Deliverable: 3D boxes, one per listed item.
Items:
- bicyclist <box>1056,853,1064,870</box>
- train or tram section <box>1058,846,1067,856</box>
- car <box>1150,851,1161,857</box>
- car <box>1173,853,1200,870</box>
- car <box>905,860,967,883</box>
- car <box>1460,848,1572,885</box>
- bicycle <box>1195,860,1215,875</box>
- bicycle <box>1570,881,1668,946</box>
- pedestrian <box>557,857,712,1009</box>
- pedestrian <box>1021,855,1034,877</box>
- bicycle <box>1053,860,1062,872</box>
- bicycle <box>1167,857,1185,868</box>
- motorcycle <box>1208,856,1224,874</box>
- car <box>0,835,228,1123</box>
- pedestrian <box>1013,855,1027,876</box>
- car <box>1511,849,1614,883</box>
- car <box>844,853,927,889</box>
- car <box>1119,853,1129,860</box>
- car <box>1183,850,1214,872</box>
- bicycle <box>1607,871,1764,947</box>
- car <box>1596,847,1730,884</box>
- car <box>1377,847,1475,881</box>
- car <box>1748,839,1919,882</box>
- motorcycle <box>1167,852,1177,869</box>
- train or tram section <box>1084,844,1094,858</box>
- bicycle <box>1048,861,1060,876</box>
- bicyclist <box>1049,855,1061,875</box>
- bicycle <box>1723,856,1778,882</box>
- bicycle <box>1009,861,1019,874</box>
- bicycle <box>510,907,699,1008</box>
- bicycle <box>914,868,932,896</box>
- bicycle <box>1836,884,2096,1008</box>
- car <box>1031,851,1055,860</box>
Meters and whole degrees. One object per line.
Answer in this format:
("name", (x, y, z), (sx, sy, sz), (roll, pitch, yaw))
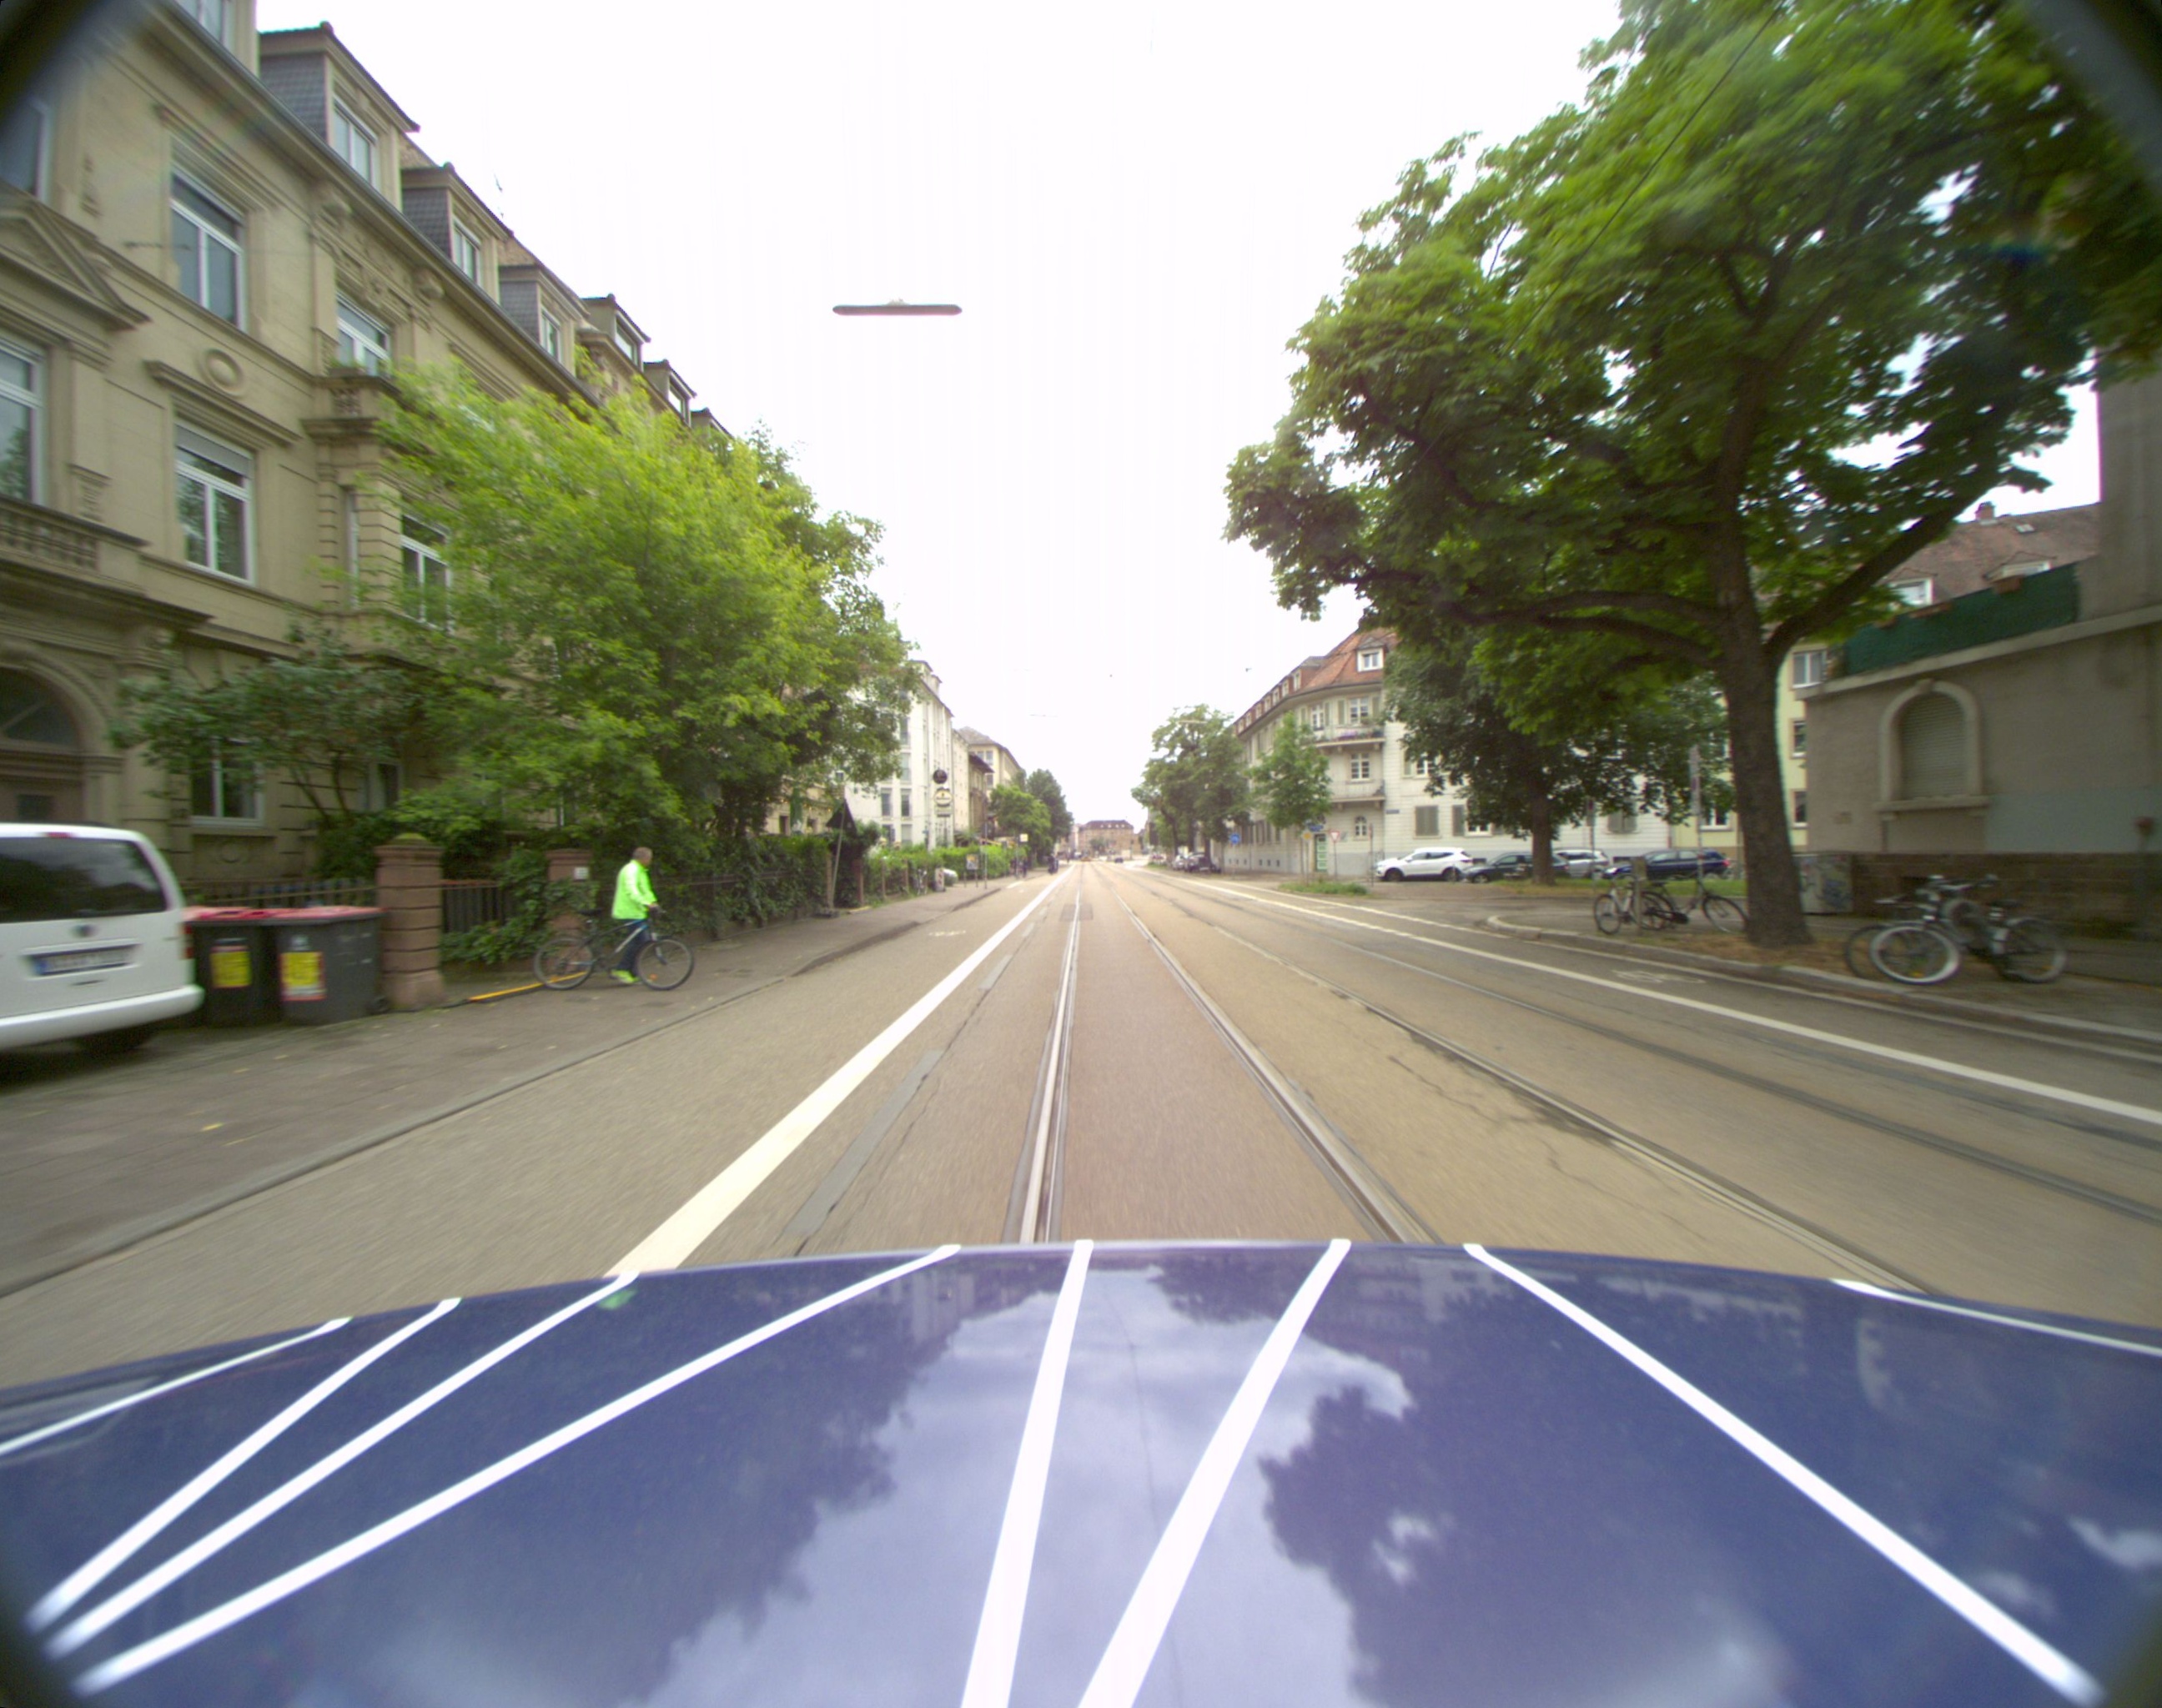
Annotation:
("bicyclist", (-2.111, 0.751, 76.245), (0.776, 1.681, 0.869), (-1, 0, 1))
("train or tram section", (-5.797, -0.909, 241.163), (2.610, 2.936, 4.965), (-2, 0, -2))
("car", (19.699, -0.080, 201.239), (1.757, 1.490, 4.006), (0, 1, 22))
("car", (9.671, 0.661, 70.131), (1.816, 1.457, 4.614), (-2, 0, 0))
("car", (-9.734, 1.168, 51.030), (3.812, 1.422, 1.674), (-2, -1, 23))
("car", (18.723, 0.548, 32.849), (4.060, 1.402, 1.665), (-2, 0, 29))
("bicycle", (9.386, 1.015, 57.418), (1.379, 0.999, 0.930), (-4, 0, 5))
("bicycle", (8.807, 0.953, 12.498), (0.485, 0.952, 1.397), (-1, 0, -7))
("pedestrian", (-5.410, 0.916, 9.295), (1.232, 1.722, 1.018), (2, 0, 0))
("pedestrian", (-4.037, 0.886, 57.743), (0.875, 1.646, 0.908), (-2, 0, -8))
("bicycle", (-2.332, 1.189, 76.249), (0.776, 1.205, 1.869), (-1, 0, 1))
("bicycle", (9.977, 0.886, 79.455), (1.744, 1.122, 0.518), (-3, 0, 18))
("motorcycle", (9.673, 0.790, 54.386), (0.541, 1.250, 2.141), (-1, 0, -6))
("car", (-8.943, 0.825, 5.238), (3.997, 1.847, 1.808), (-1, 0, -1))
("pedestrian", (-4.809, 0.873, 60.062), (0.794, 1.627, 0.837), (0, 2, 16))
("car", (23.102, 0.577, 36.622), (4.038, 1.504, 1.741), (-2, 0, 27))
("car", (-10.946, 0.929, 42.973), (2.054, 1.867, 5.036), (-1, 0, 19))
("car", (8.506, 0.501, 151.642), (1.733, 1.400, 3.655), (-1, 0, 0))
("car", (9.531, 0.565, 62.022), (1.842, 1.651, 4.293), (-4, 0, 1))
("bicycle", (9.757, 0.848, 12.371), (0.677, 1.129, 1.934), (-1, -1, -16))
("car", (23.281, 0.466, 30.586), (4.000, 1.338, 1.668), (-2, 0, 26))
("car", (17.856, 0.512, 39.400), (4.505, 1.653, 1.942), (-1, 0, 25))
("car", (27.877, 0.248, 28.341), (4.179, 1.471, 1.705), (-2, 0, 26))
("motorcycle", (9.282, 0.639, 77.509), (0.834, 1.633, 2.481), (-1, 0, 8))
("train or tram section", (2.162, -0.876, 209.851), (2.631, 3.659, 5.984), (-2, 0, -2))
("bicycle", (-2.457, 1.320, 69.555), (0.853, 1.234, 2.310), (-2, 0, 5))
("bicyclist", (-2.416, 0.986, 69.665), (0.881, 1.811, 1.479), (-2, -1, 5))
("bicycle", (24.344, 0.544, 27.638), (1.392, 0.891, 0.582), (-1, 0, 28))
("bicycle", (-5.562, 1.112, 63.277), (0.634, 1.121, 1.812), (1, -1, 0))
("bicycle", (-5.680, 1.224, 9.120), (1.846, 1.069, 0.606), (2, 0, -1))
("bicycle", (-6.390, 1.129, 30.835), (0.302, 1.035, 1.848), (-1, 0, 0))
("bicycle", (9.116, 0.930, 7.875), (1.927, 1.114, 0.624), (-3, 1, 0))
("car", (-7.358, 0.243, 146.817), (4.330, 1.542, 1.747), (-1, 0, -22))
